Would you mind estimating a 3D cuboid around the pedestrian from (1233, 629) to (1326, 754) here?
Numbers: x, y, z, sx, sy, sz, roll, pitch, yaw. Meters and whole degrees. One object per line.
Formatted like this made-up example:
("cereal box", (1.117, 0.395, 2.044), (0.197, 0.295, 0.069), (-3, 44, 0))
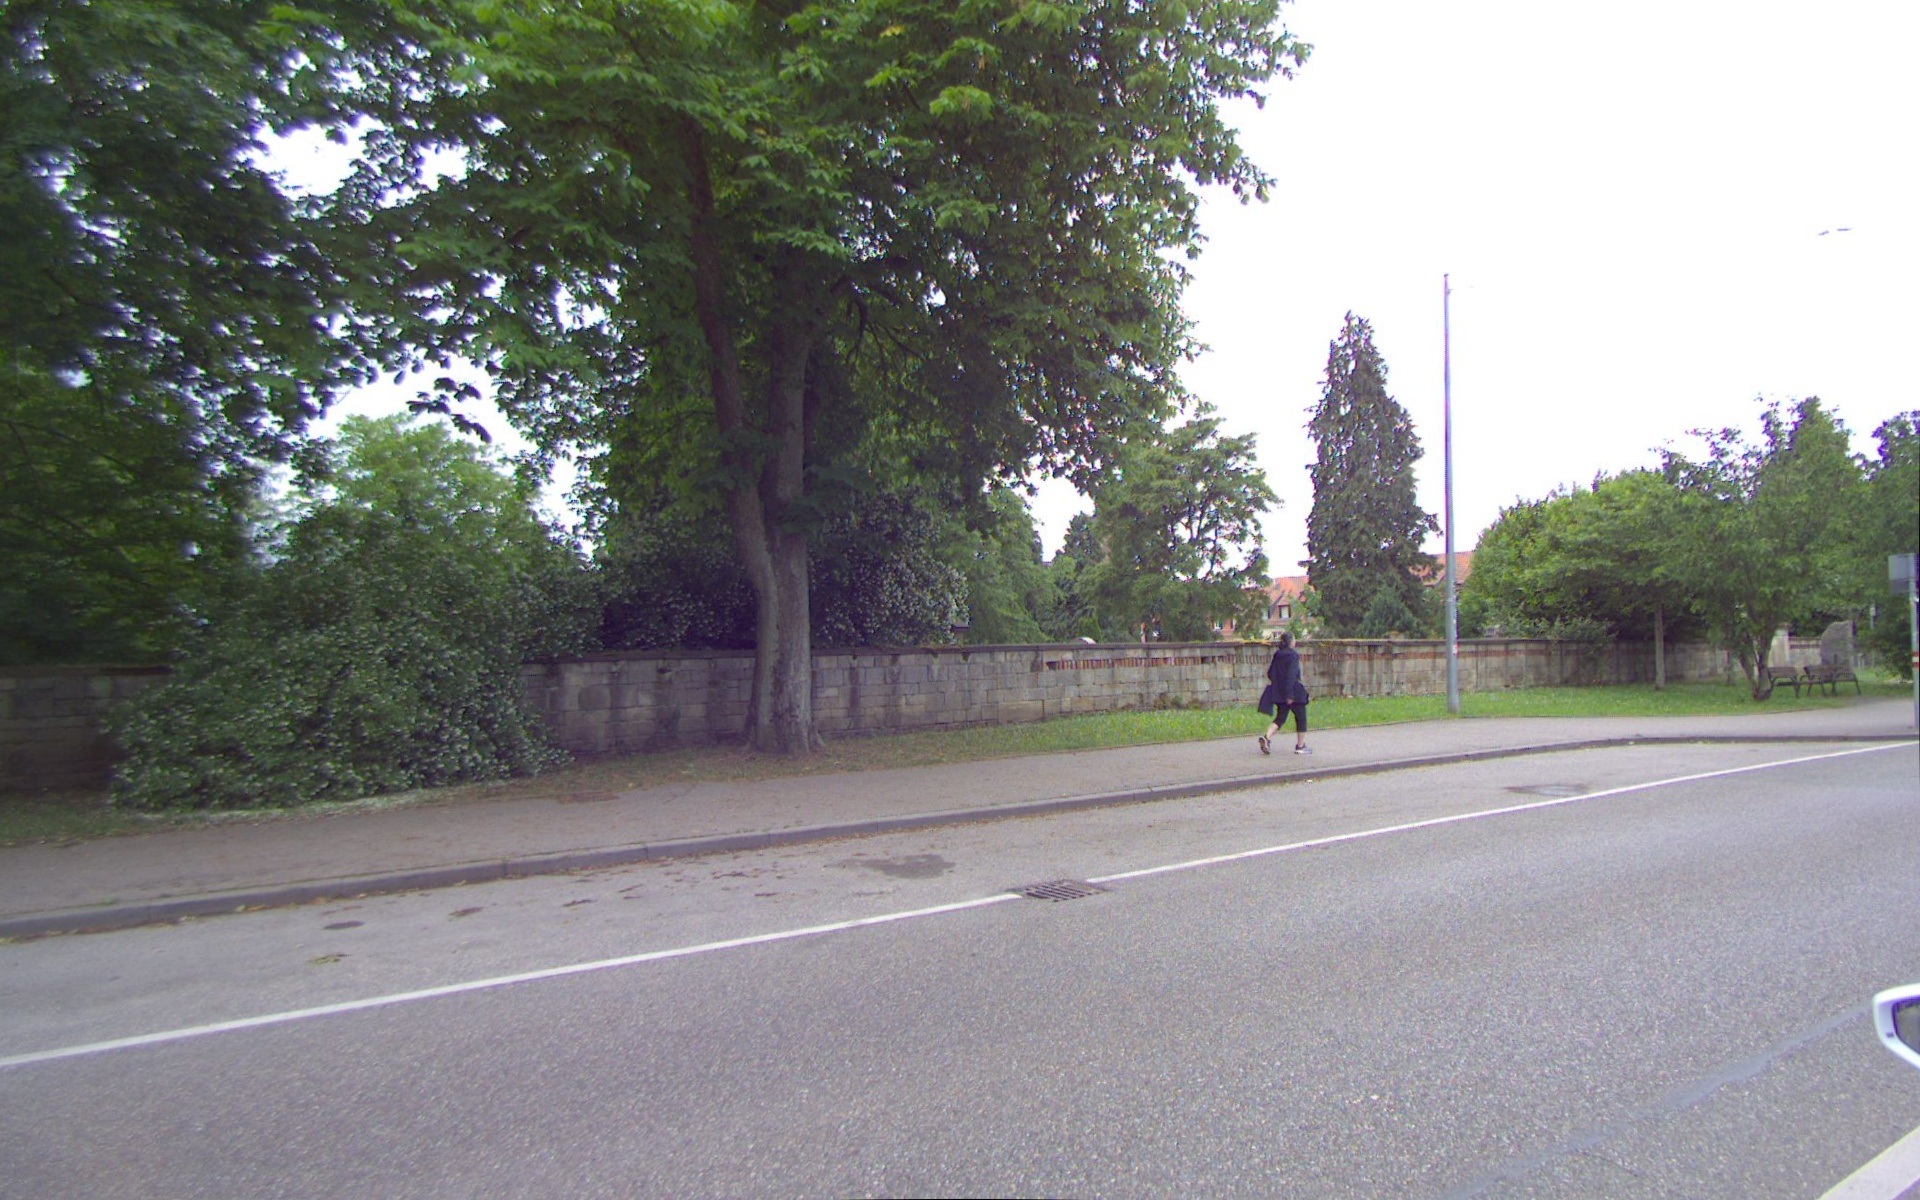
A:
("pedestrian", (4.284, 1.197, 13.471), (0.955, 1.599, 0.745), (1, -1, -30))
